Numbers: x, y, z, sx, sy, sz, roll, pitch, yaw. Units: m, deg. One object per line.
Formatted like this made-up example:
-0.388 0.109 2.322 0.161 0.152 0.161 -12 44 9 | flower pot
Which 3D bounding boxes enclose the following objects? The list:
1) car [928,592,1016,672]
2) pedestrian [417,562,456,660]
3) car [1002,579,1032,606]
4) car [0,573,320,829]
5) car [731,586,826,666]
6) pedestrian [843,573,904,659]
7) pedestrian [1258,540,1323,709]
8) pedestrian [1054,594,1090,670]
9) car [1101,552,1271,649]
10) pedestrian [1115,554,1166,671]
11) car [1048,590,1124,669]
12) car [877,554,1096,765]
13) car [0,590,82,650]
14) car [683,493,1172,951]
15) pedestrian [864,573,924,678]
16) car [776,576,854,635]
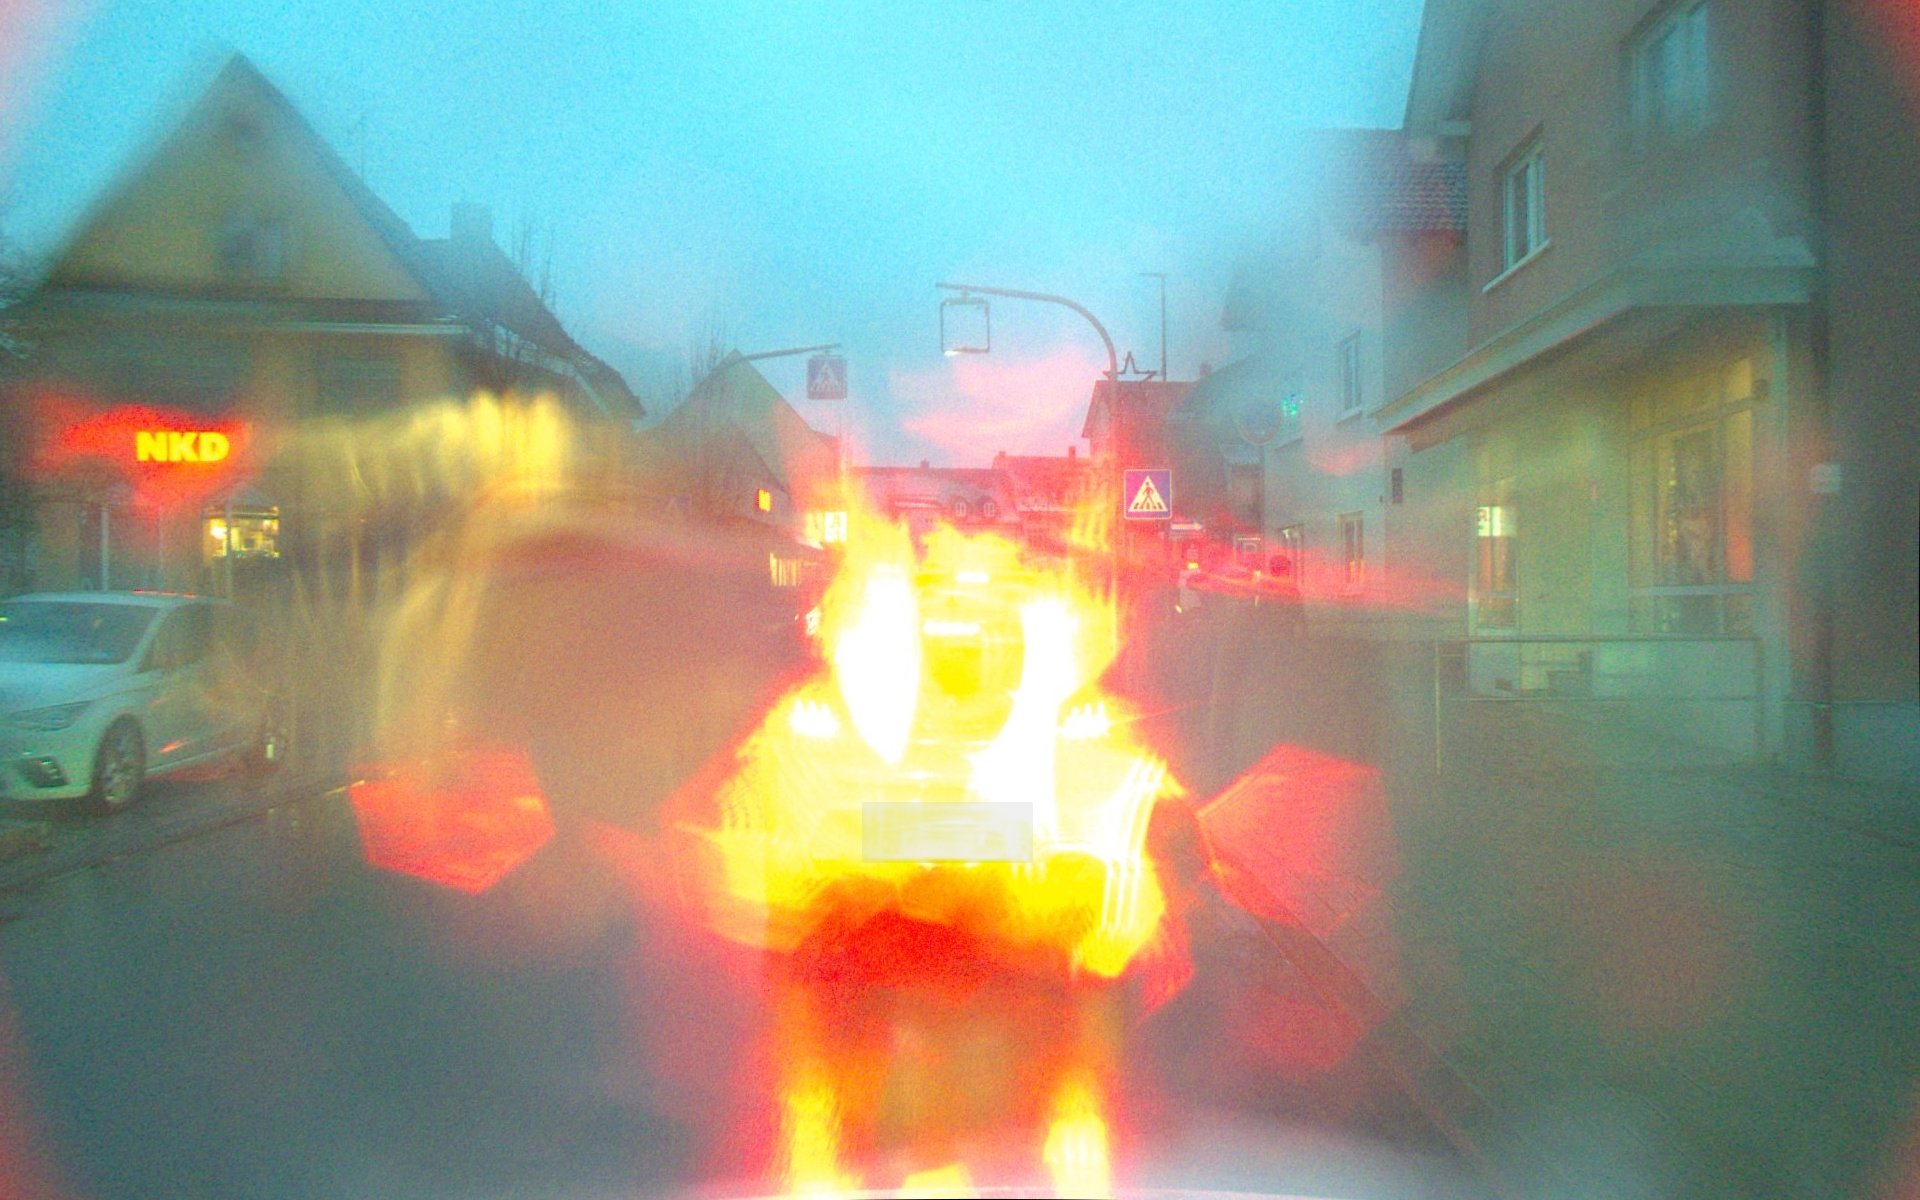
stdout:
0.321 0.651 36.151 1.789 1.629 4.582 0 0 2 | car
-9.605 0.196 30.357 0.576 1.773 0.683 0 0 -8 | pedestrian
3.156 -0.413 91.001 1.502 1.266 3.649 -5 1 3 | car
-6.289 0.594 12.093 1.636 1.543 4.000 2 0 0 | car
-4.833 0.666 44.585 1.952 2.049 4.362 0 0 2 | car
-1.562 0.286 29.881 0.872 1.442 0.776 6 0 4 | pedestrian
3.852 0.283 19.313 0.649 1.921 0.825 1 -1 6 | pedestrian
1.867 0.527 27.660 0.542 1.254 0.433 0 0 -4 | pedestrian
4.988 0.017 36.864 3.619 2.049 1.690 1 0 3 | car
3.004 0.206 27.527 0.689 1.909 0.616 1 1 -6 | pedestrian
3.474 0.779 46.134 1.609 2.049 3.998 -2 1 -2 | car
0.260 0.485 15.427 1.760 1.691 4.001 1 0 1 | car
-28.330 0.584 50.162 1.815 1.750 3.991 1 0 -9 | car
-0.023 0.449 8.951 1.952 1.827 4.650 0 1 3 | car
-1.144 0.426 28.911 0.953 1.773 0.961 1 1 1 | pedestrian
-4.484 0.159 51.717 1.952 1.783 4.362 0 0 1 | car
